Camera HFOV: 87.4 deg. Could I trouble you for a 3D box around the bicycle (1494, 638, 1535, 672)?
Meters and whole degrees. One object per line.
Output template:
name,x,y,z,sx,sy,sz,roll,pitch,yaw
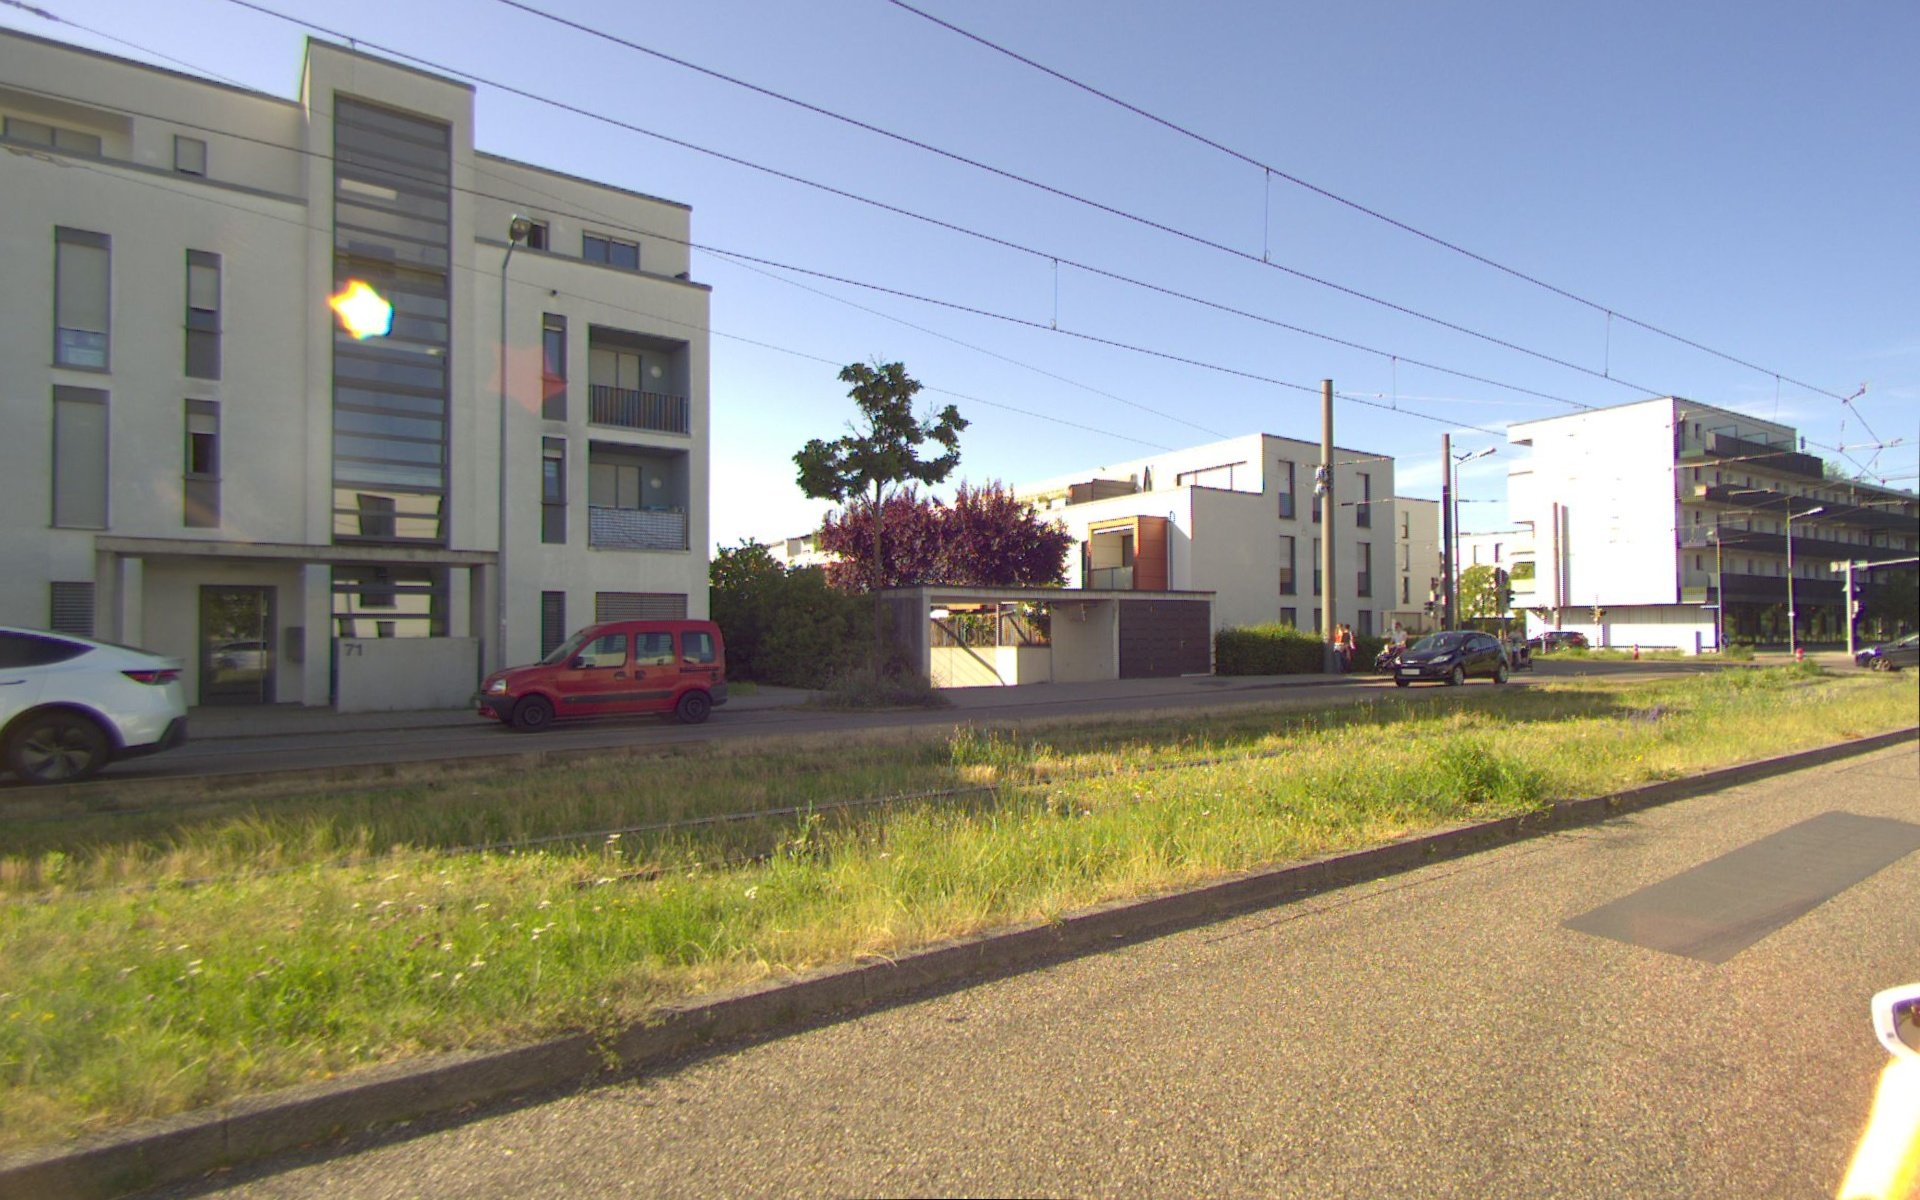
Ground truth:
bicycle,21.690,2.126,39.258,0.785,1.238,2.688,1,0,42

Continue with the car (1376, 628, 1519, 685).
car,13.321,1.501,27.388,3.959,1.437,1.777,1,-3,-34

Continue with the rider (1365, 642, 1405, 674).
rider,14.232,1.919,33.662,1.032,1.016,0.774,1,0,-30

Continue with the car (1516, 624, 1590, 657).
car,37.821,2.586,64.181,3.927,2.040,1.997,-1,-2,28

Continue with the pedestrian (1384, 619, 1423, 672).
pedestrian,15.094,1.532,34.175,0.898,1.771,0.812,1,0,-29

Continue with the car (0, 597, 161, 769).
car,-10.557,0.812,9.501,4.604,1.616,1.980,1,-4,-37

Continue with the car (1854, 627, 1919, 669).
car,33.466,1.638,34.616,1.693,1.449,3.700,1,-3,-38

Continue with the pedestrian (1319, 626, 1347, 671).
pedestrian,12.662,1.638,34.100,0.734,1.483,0.554,1,0,-33

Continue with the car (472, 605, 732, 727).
car,-6.010,1.024,16.982,3.798,1.820,1.869,1,0,-34

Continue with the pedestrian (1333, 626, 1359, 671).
pedestrian,12.913,1.613,33.594,0.605,1.483,0.554,1,0,-32

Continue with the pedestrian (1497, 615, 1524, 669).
pedestrian,21.235,1.625,38.750,0.752,2.040,0.666,1,0,42
